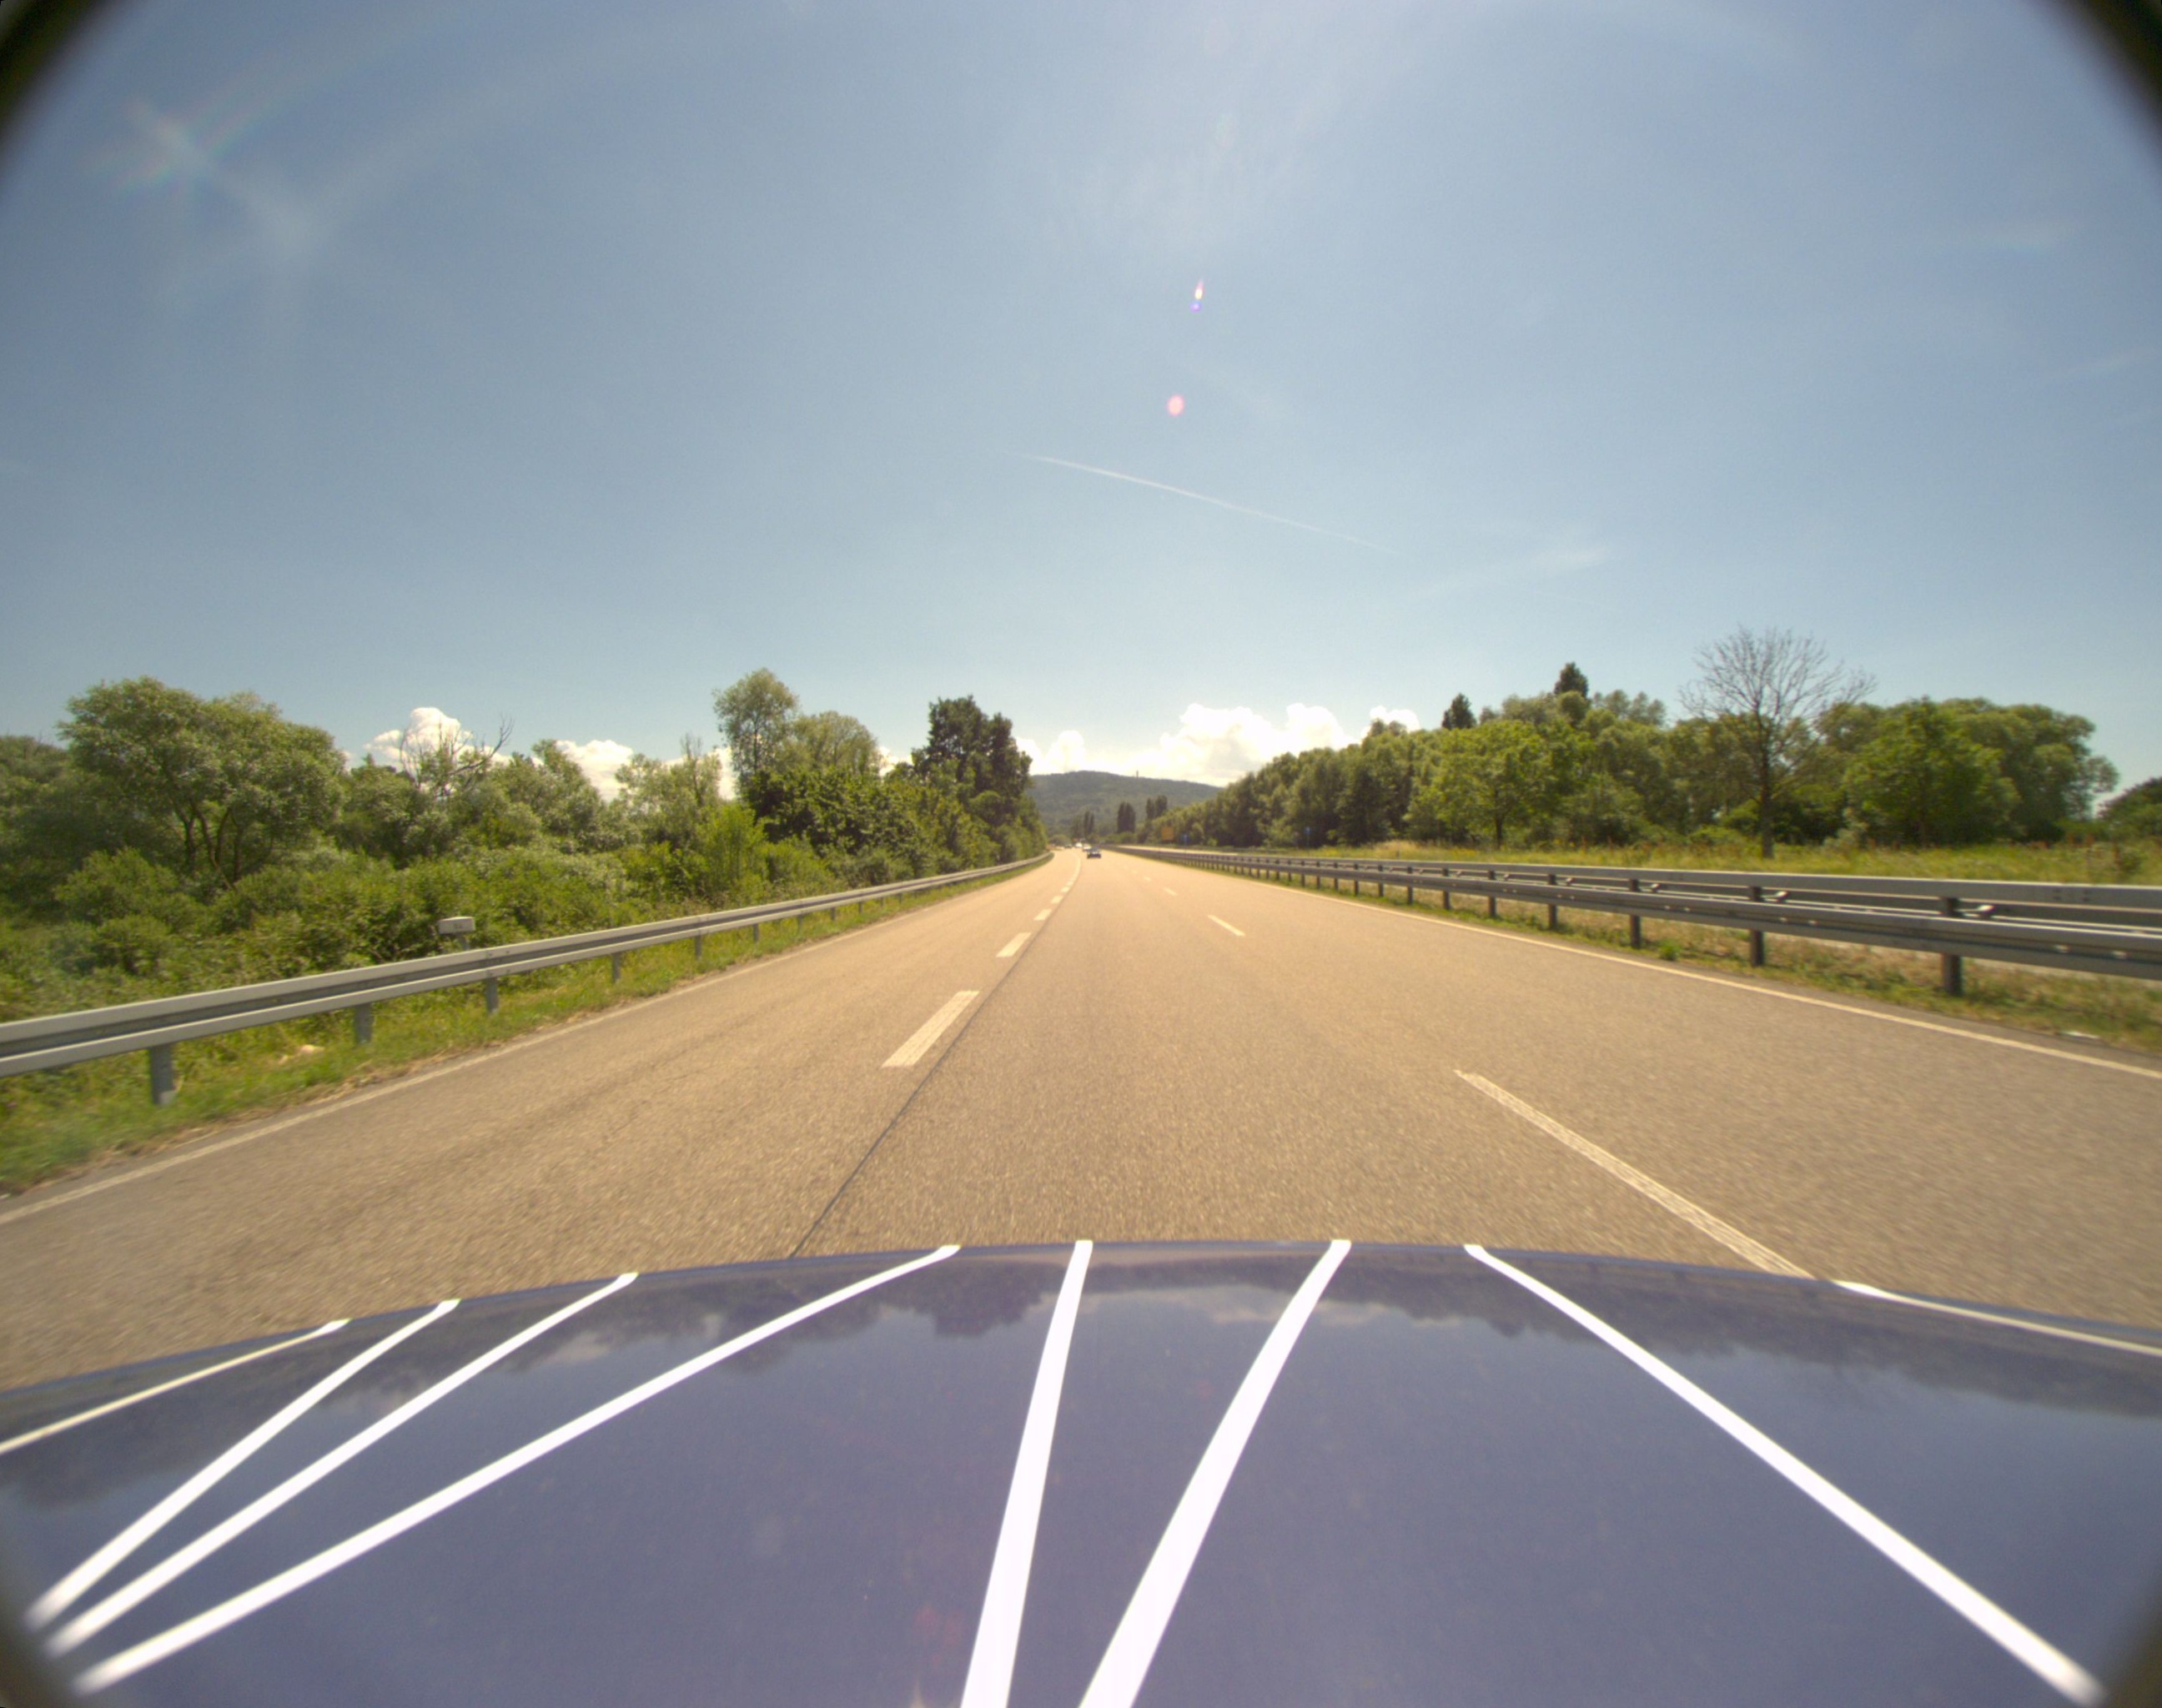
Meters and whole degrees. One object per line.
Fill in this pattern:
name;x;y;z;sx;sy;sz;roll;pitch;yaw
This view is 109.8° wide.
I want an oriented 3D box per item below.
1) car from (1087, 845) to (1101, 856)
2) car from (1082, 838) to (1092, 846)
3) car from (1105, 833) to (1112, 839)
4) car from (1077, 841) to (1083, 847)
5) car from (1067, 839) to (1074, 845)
car;1.805;-0.454;106.648;1.908;1.368;3.890;-2;1;1
car;1.288;-2.584;165.670;1.998;1.630;4.000;-2;1;1
car;7.972;-5.318;221.569;1.868;1.820;4.658;-2;2;0
car;-0.283;-2.995;221.347;1.658;1.536;3.690;-2;1;3
car;-2.902;-3.351;213.975;1.658;1.536;3.690;-2;1;3
